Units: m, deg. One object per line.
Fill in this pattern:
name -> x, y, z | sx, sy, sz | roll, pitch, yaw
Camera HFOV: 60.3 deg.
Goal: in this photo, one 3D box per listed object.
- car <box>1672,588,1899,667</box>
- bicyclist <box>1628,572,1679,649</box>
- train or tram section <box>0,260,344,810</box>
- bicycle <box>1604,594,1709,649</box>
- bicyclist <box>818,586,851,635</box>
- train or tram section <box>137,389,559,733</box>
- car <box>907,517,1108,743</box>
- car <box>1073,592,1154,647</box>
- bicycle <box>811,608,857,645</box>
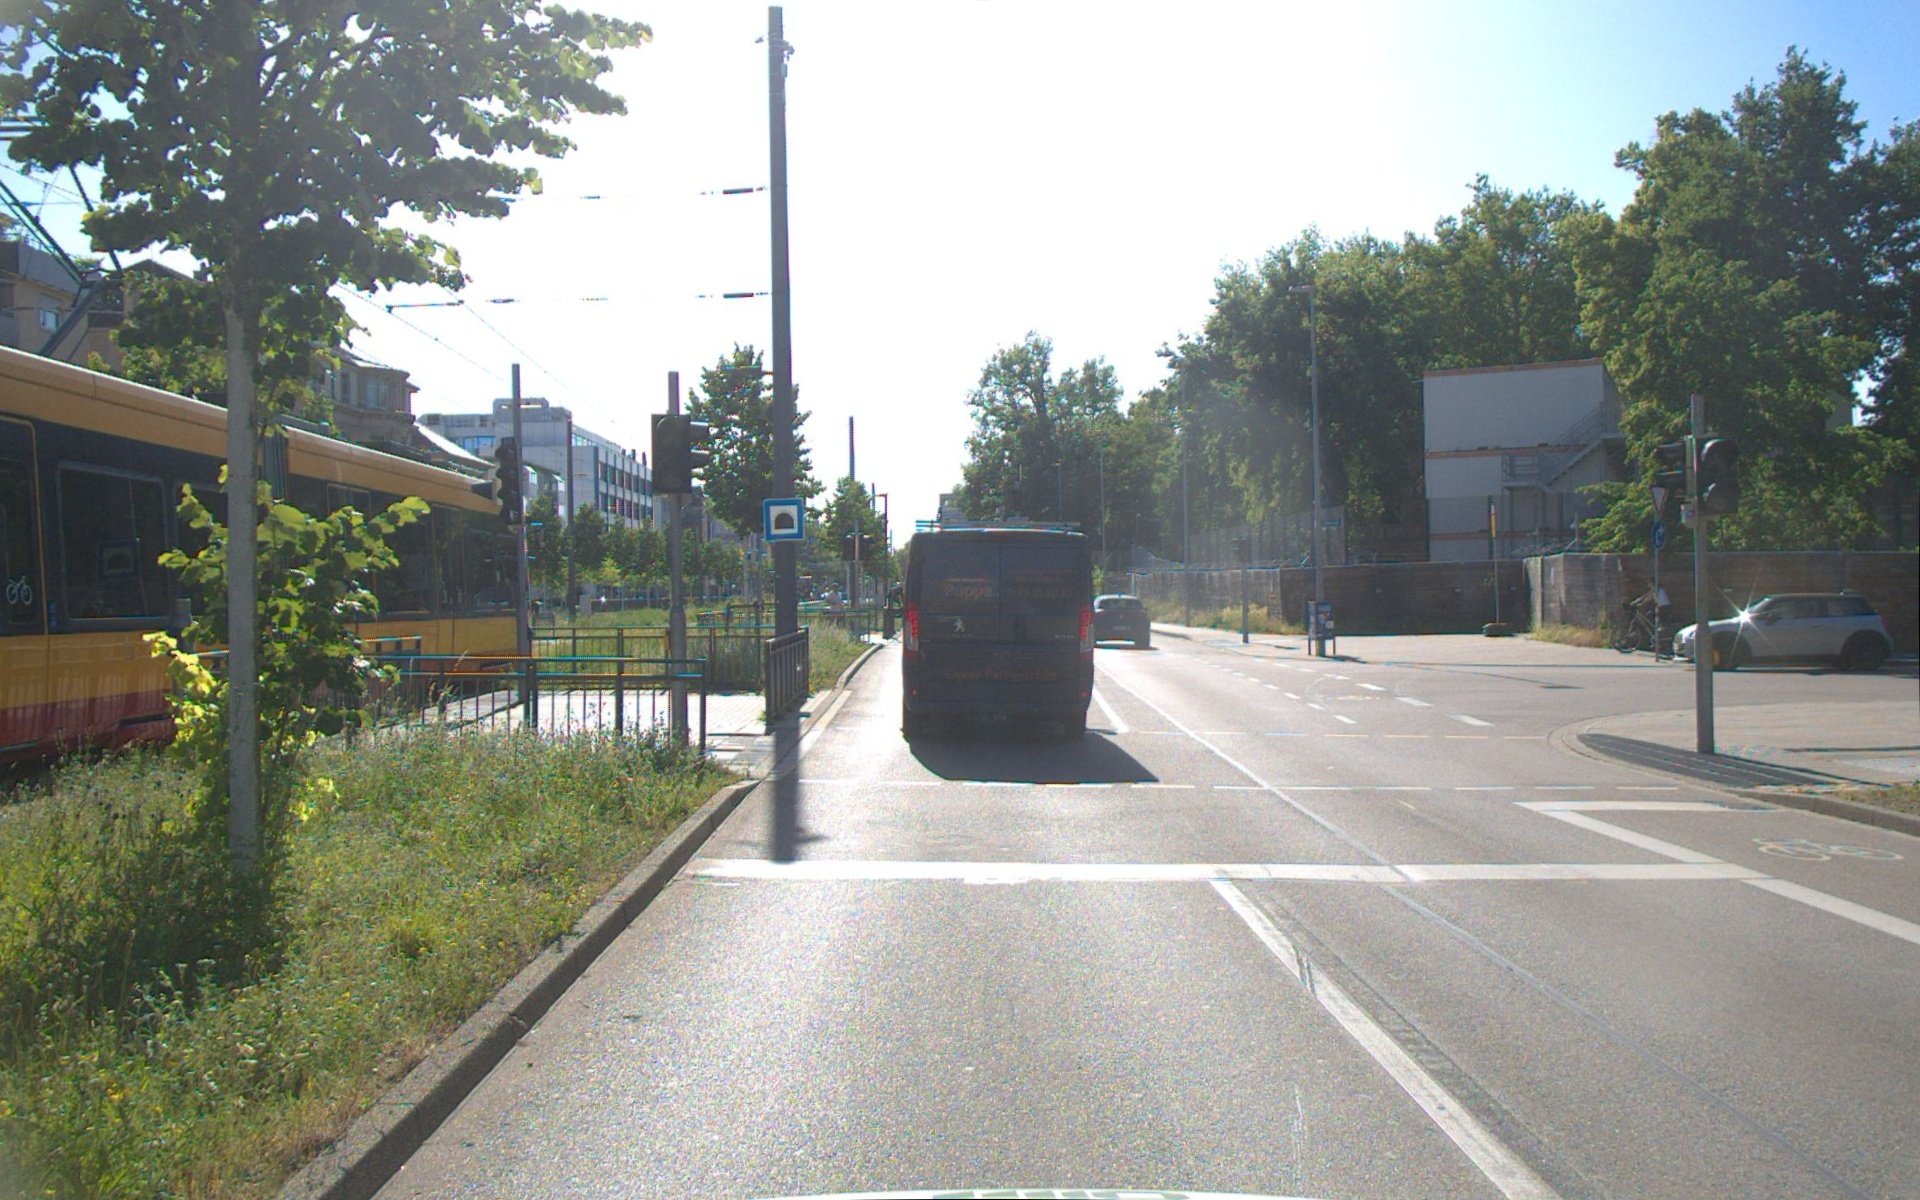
car -> 15.779, 0.510, 31.798 | 3.621, 1.461, 1.774 | 0, 0, 15
bicyclist -> 15.677, 0.234, 37.407 | 0.831, 1.702, 0.744 | -2, 0, 7
train or tram section -> -7.522, -0.440, 12.337 | 1.953, 3.733, 11.312 | 0, 0, -2
bicycle -> 15.741, 0.475, 37.420 | 2.072, 1.132, 0.604 | -3, 0, 8
bicyclist -> -3.921, 0.326, 51.686 | 0.816, 1.539, 0.723 | 0, 0, -27
train or tram section -> -8.062, -0.440, 23.802 | 1.953, 3.733, 11.681 | 0, 0, -1
car -> 0.421, 0.297, 18.735 | 2.040, 2.288, 3.998 | 0, 0, -2
car -> 4.339, 0.522, 47.221 | 1.728, 1.488, 3.997 | 0, 0, -3
bicycle -> -3.957, 0.820, 51.766 | 0.724, 1.110, 2.064 | 0, 0, -27
